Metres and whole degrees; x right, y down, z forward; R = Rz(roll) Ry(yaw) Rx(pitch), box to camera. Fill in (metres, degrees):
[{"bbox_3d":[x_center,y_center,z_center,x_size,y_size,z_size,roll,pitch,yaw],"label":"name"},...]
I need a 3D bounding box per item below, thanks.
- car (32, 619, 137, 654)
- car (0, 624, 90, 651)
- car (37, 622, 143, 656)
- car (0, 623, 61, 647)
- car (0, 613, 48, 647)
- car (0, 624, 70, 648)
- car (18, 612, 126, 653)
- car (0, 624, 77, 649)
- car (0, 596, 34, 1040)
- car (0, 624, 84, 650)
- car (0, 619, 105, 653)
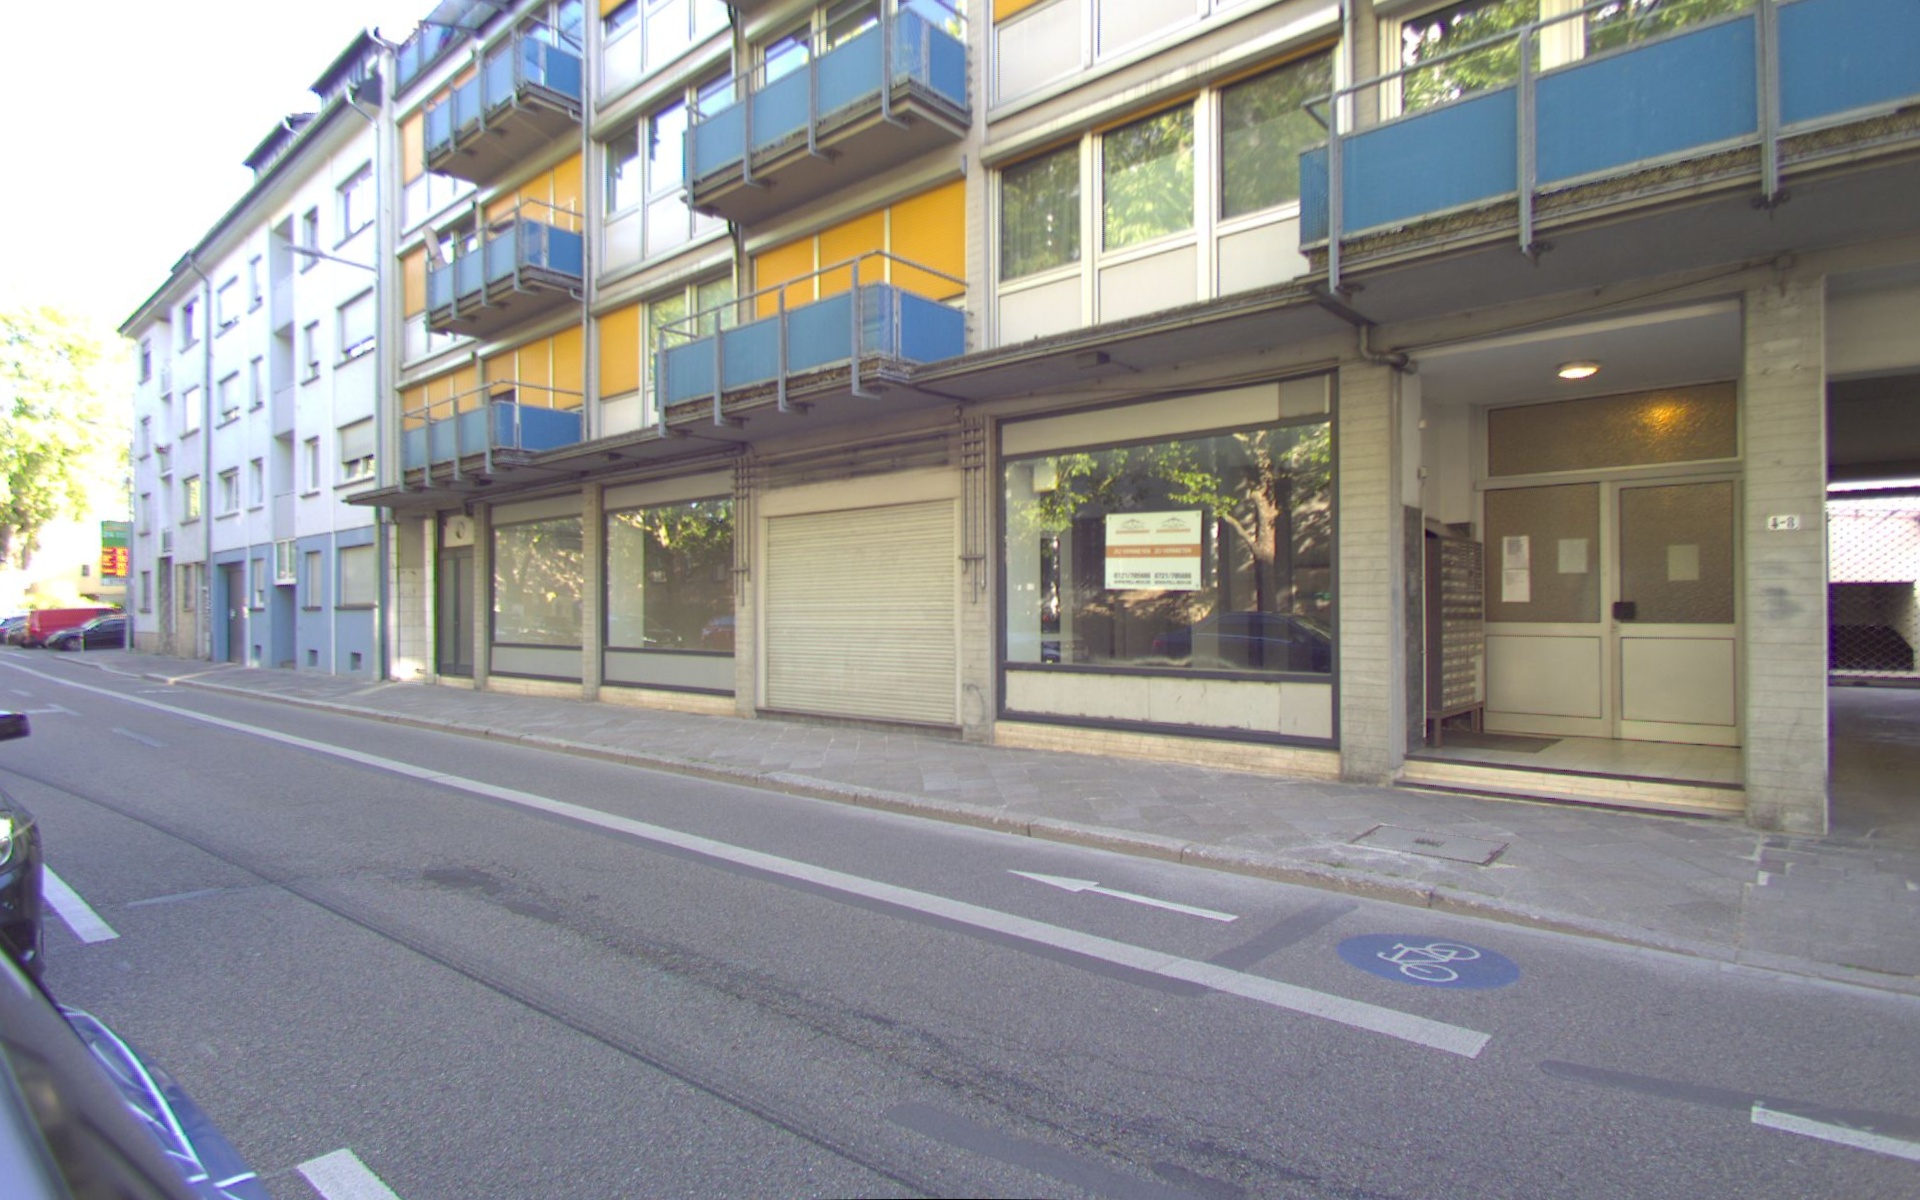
[{"bbox_3d":[-41.520,1.710,48.052,1.602,1.521,3.620,-1,0,42],"label":"car"},{"bbox_3d":[-51.856,2.106,57.226,1.594,1.385,3.854,-1,0,42],"label":"car"},{"bbox_3d":[-39.802,1.756,46.356,1.534,1.420,3.551,-2,-1,42],"label":"car"},{"bbox_3d":[-59.222,2.198,63.763,1.539,1.451,3.733,-1,0,42],"label":"car"},{"bbox_3d":[-62.721,1.977,66.593,1.725,2.193,3.854,-1,0,42],"label":"car"},{"bbox_3d":[-57.192,2.210,62.005,1.525,1.343,3.854,-1,0,42],"label":"car"},{"bbox_3d":[-43.713,1.574,49.870,1.749,1.921,3.854,-1,-1,42],"label":"car"},{"bbox_3d":[-55.386,2.186,60.444,1.525,1.343,3.854,-1,0,42],"label":"car"},{"bbox_3d":[-5.438,0.771,4.213,4.291,1.515,1.805,-1,0,40],"label":"car"},{"bbox_3d":[-53.370,2.125,58.565,1.594,1.385,3.854,-1,0,42],"label":"car"},{"bbox_3d":[-46.060,1.790,51.408,1.603,1.598,3.854,-1,0,42],"label":"car"}]
